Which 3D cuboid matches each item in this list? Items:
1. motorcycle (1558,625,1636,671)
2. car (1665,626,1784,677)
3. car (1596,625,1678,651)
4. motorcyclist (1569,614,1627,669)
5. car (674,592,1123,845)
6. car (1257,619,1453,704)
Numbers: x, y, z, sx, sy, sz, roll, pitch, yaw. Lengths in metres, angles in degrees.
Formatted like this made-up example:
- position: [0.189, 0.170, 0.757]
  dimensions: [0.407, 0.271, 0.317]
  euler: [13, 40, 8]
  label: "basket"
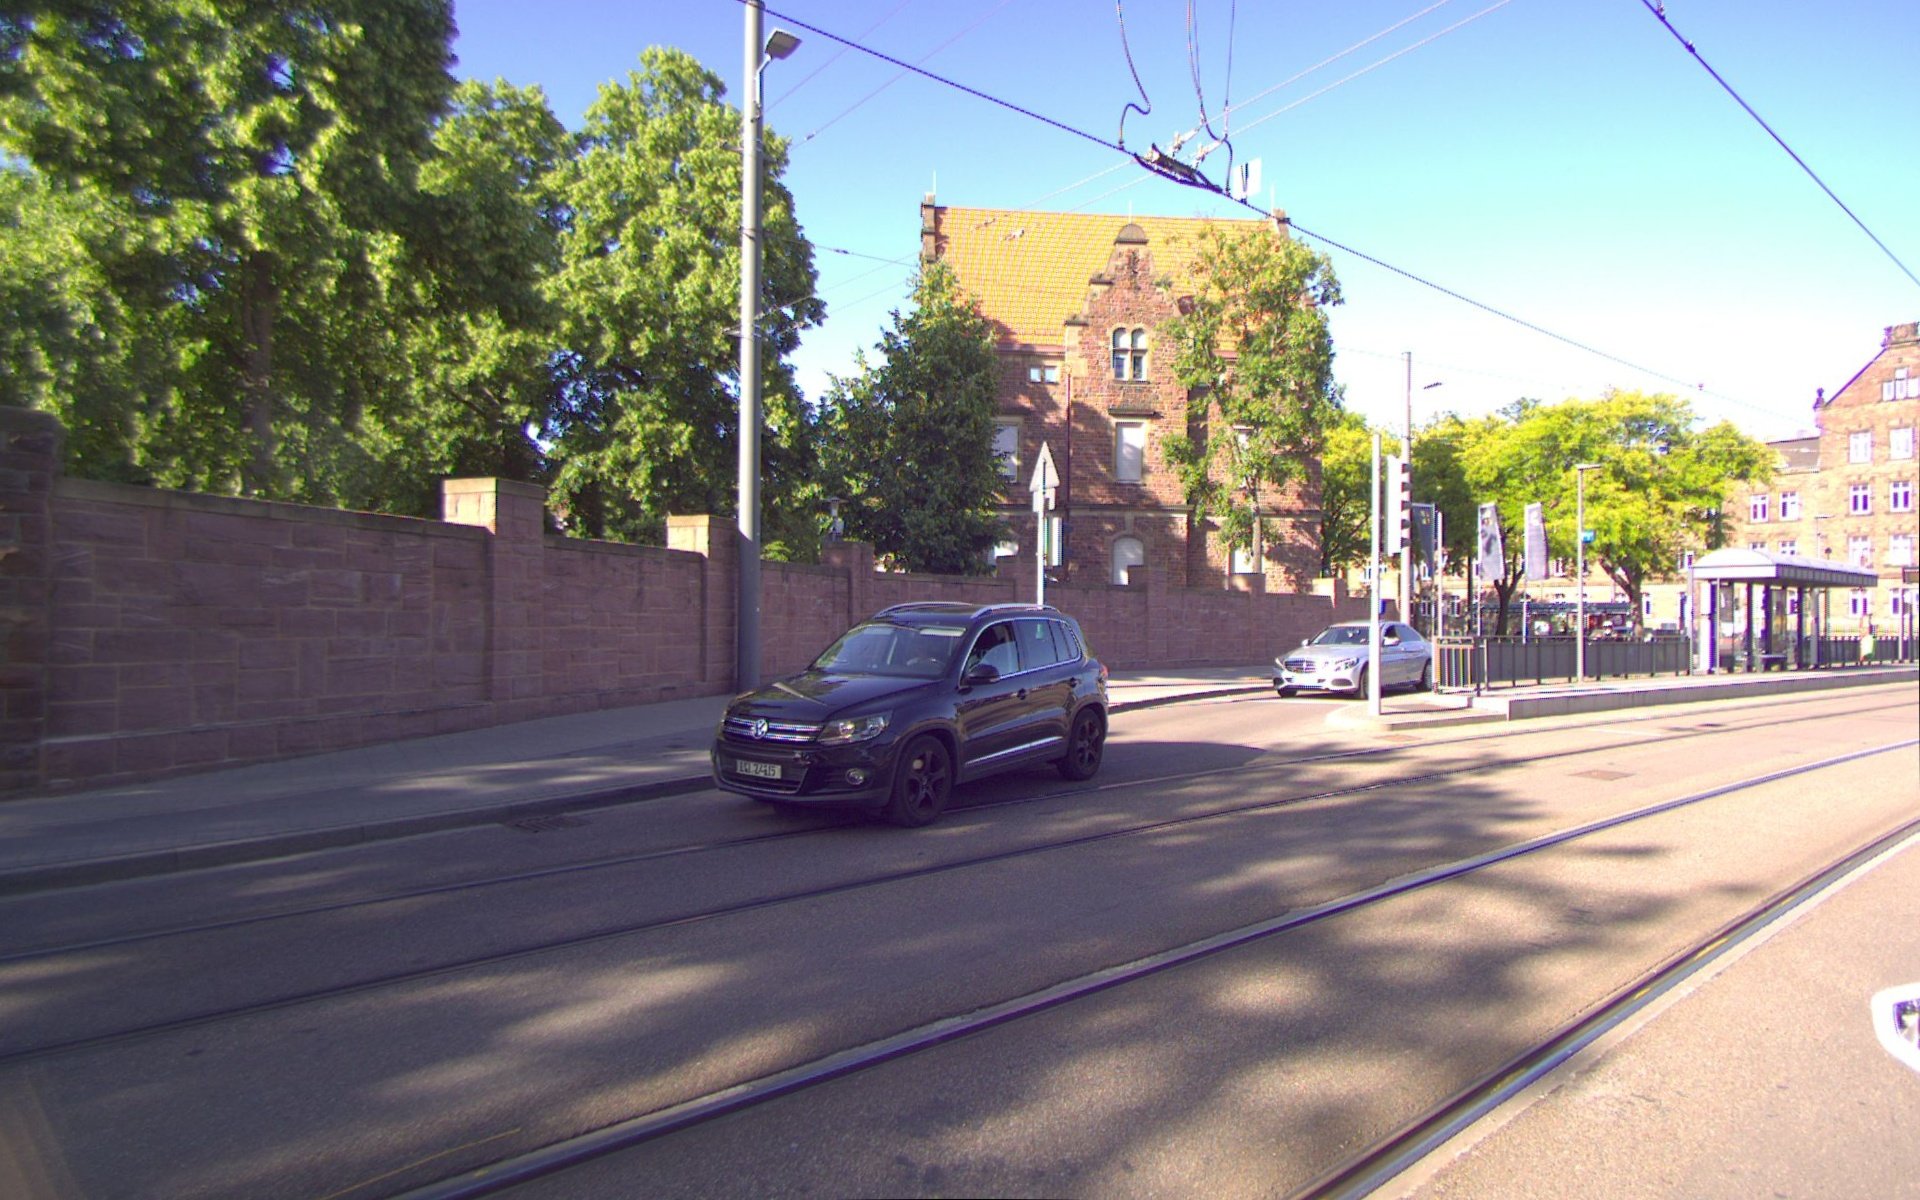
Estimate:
- position: [18.489, 1.378, 29.143]
  dimensions: [2.551, 1.260, 1.121]
  euler: [2, -1, -38]
  label: "motorcycle"
- position: [25.751, 1.790, 33.804]
  dimensions: [3.940, 1.420, 1.846]
  euler: [5, -8, -32]
  label: "car"
- position: [44.131, 2.454, 65.521]
  dimensions: [1.856, 1.542, 4.043]
  euler: [2, -1, -32]
  label: "car"
- position: [18.512, 1.200, 29.154]
  dimensions: [1.046, 1.545, 1.116]
  euler: [2, -1, -38]
  label: "motorcyclist"
- position: [-0.279, 0.841, 8.797]
  dimensions: [1.772, 1.659, 4.106]
  euler: [-1, -2, 35]
  label: "car"
- position: [7.989, 1.143, 20.107]
  dimensions: [4.590, 1.434, 1.866]
  euler: [0, 0, -43]
  label: "car"
